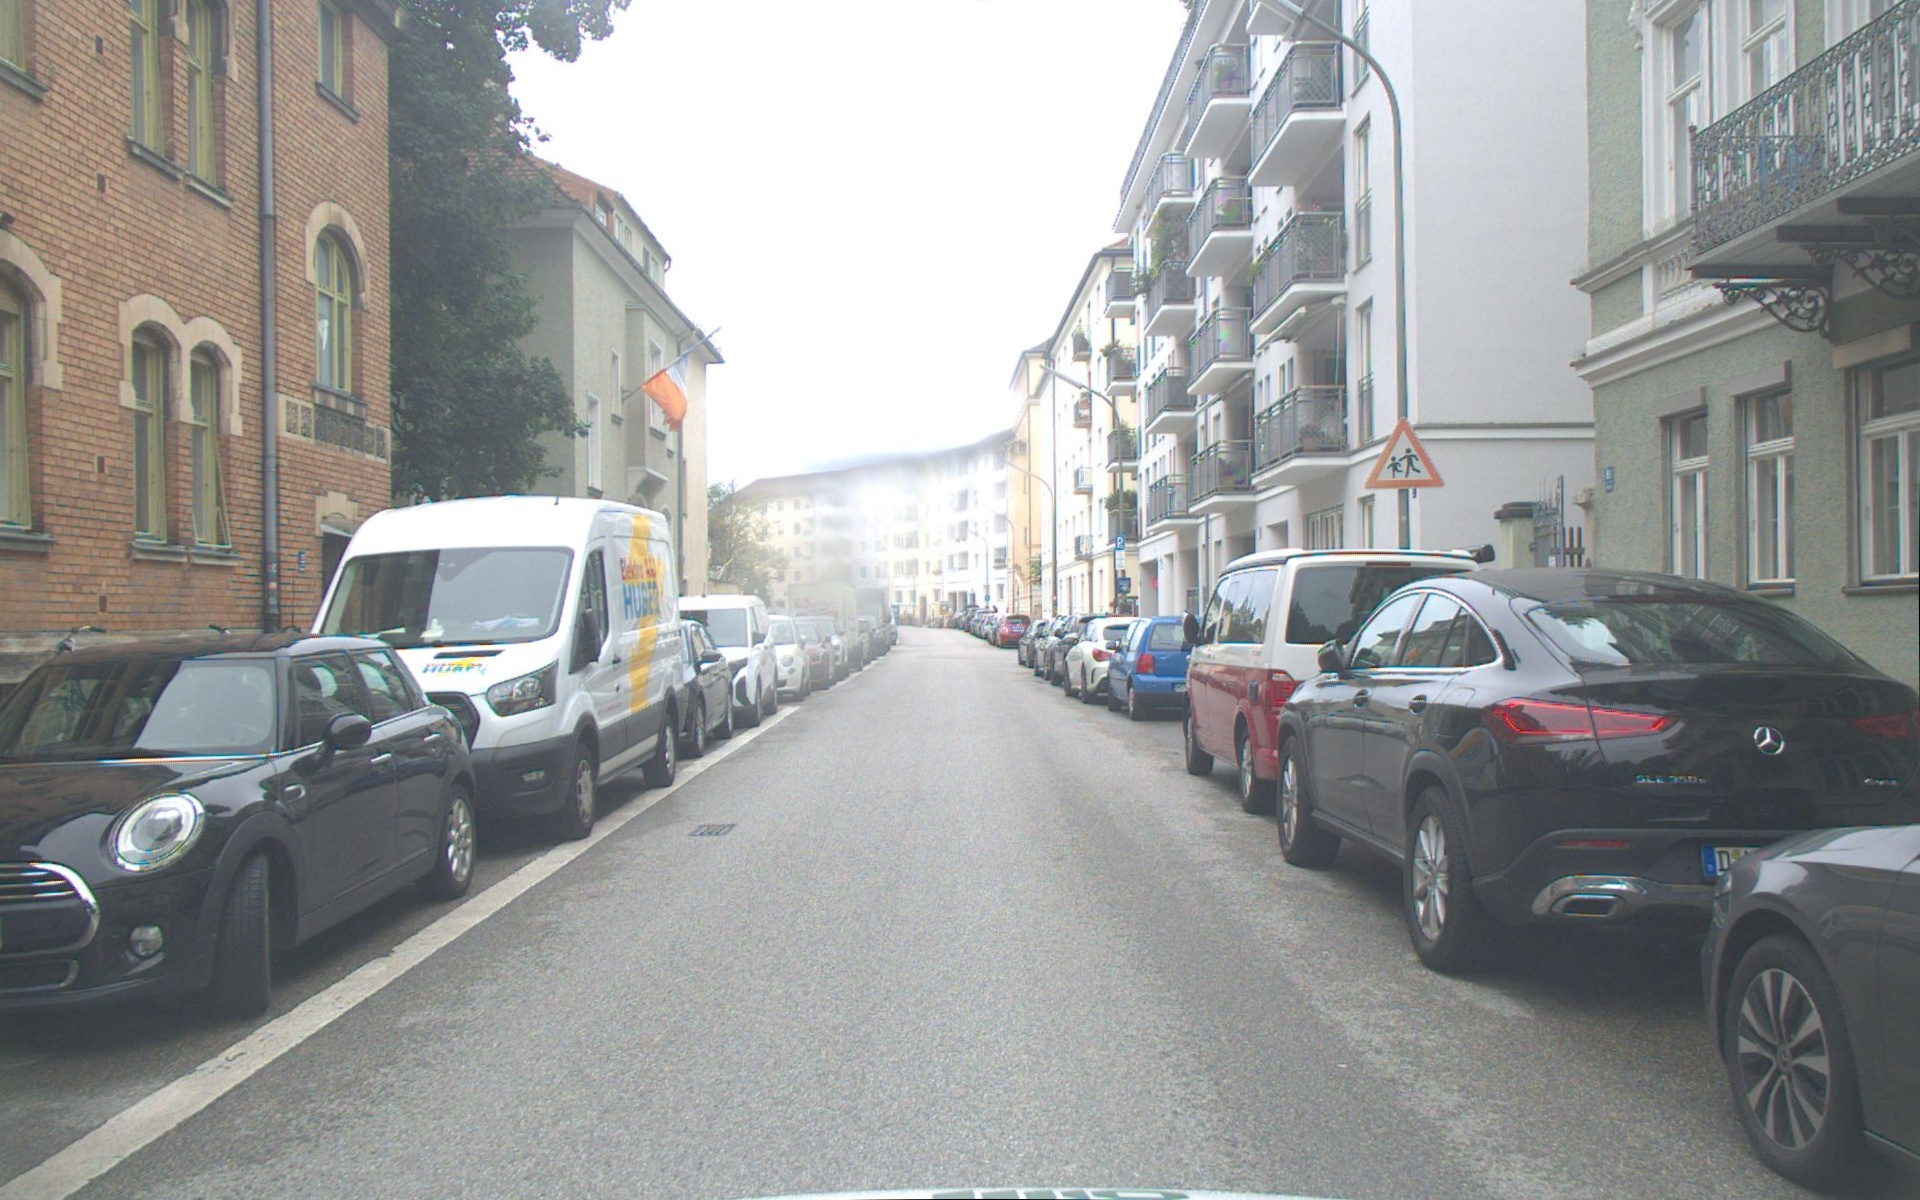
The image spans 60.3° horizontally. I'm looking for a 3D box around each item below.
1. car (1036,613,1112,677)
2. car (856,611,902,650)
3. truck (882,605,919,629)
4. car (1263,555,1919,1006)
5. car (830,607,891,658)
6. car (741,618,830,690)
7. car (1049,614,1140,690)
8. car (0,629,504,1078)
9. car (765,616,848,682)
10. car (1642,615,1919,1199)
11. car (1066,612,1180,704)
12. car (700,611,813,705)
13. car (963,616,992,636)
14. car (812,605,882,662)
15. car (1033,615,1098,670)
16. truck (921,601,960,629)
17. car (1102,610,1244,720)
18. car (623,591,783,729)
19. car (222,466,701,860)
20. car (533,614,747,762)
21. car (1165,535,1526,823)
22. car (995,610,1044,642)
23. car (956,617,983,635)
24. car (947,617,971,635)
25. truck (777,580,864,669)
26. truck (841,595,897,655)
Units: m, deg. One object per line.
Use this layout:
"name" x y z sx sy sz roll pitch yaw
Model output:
"car" 2.764 1.089 40.658 1.615 1.459 4.000 -1 -1 1
"car" -3.881 1.484 79.775 1.952 1.793 4.381 -1 -1 0
"truck" -5.936 1.715 164.208 2.578 2.341 5.417 0 0 -15
"car" 2.928 0.673 8.289 1.822 1.578 4.751 -1 -1 -1
"car" -3.669 1.205 61.668 1.952 1.793 4.381 -1 -1 0
"car" -3.603 1.109 34.736 1.717 1.392 3.996 -1 -1 -4
"car" 2.776 1.059 34.771 1.615 1.459 4.000 -1 -1 1
"car" -3.438 0.892 7.409 1.663 1.456 3.830 -2 -1 0
"car" -3.711 1.167 40.465 1.759 1.494 3.865 -1 -1 -2
"car" 3.096 0.782 3.178 1.692 1.485 4.415 1 -1 -1
"car" 2.760 0.967 28.703 1.615 1.459 4.000 -1 -1 1
"car" -3.617 1.010 29.982 1.810 1.567 3.996 -1 -1 -4
"car" 1.201 1.845 118.265 1.748 1.410 3.996 0 0 -4
"car" -3.720 1.106 55.079 1.952 1.793 4.381 -1 -1 0
"car" 2.950 1.178 46.890 1.615 1.459 4.284 -1 -1 1
"truck" -1.692 1.281 143.267 2.188 2.341 5.270 0 -1 -14
"car" 3.041 0.908 24.240 1.575 1.459 3.619 -1 -1 0
"car" -3.526 0.805 23.310 1.784 1.741 3.997 -1 -1 -3
"car" -3.494 0.425 12.872 2.093 2.390 5.369 -1 -1 0
"car" -3.504 0.923 18.800 1.709 1.470 3.999 -1 -1 -1
"car" 3.040 0.594 14.153 1.832 2.002 4.815 -1 -1 -1
"car" 2.653 1.153 74.457 1.748 1.410 3.996 0 0 -4
"car" 0.735 2.021 129.312 1.748 1.410 3.996 0 0 -4
"car" -0.098 2.132 135.622 1.748 1.410 3.996 0 0 -4
"truck" -3.901 0.706 47.194 1.952 2.359 5.409 -1 -1 0
"truck" -3.713 1.023 68.258 1.952 2.359 5.409 -1 -1 0
